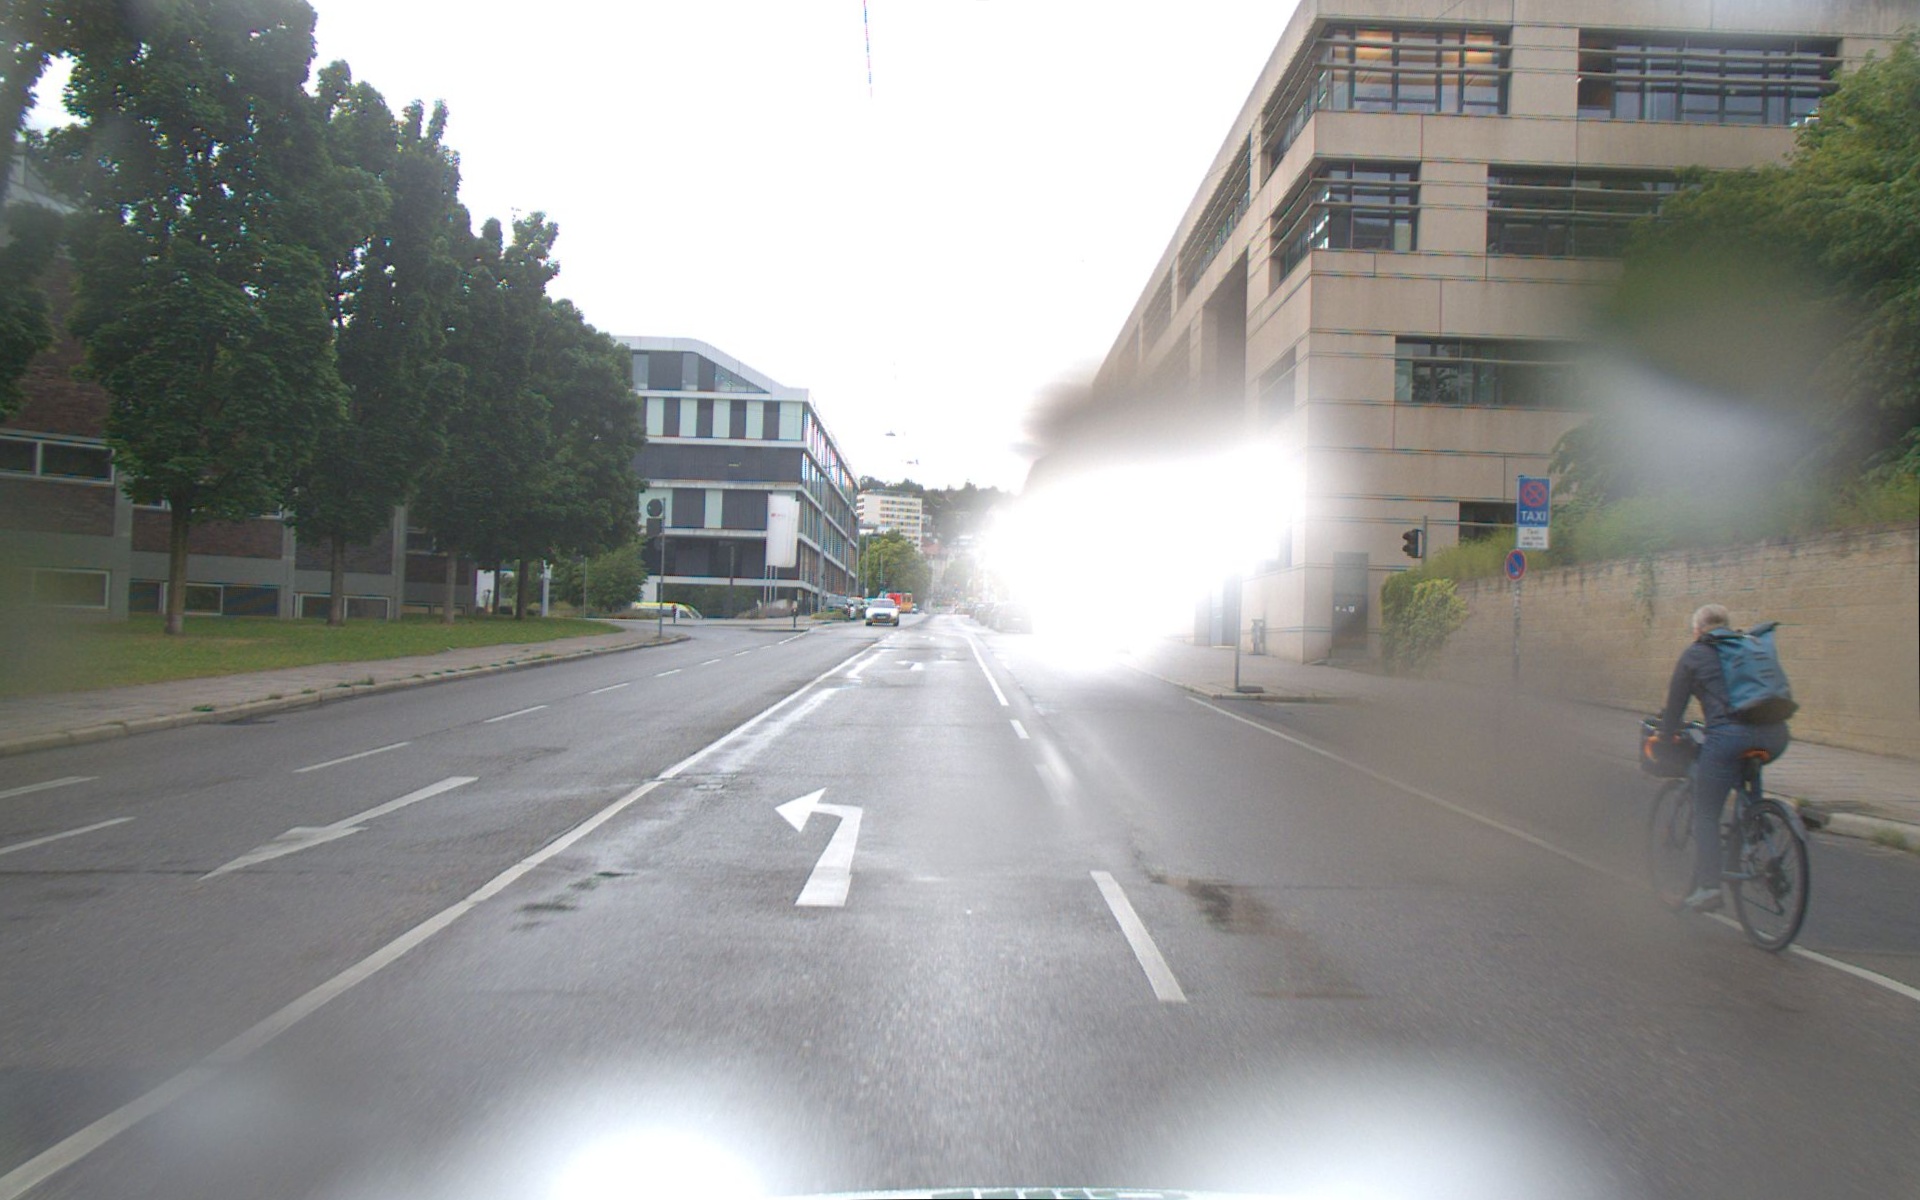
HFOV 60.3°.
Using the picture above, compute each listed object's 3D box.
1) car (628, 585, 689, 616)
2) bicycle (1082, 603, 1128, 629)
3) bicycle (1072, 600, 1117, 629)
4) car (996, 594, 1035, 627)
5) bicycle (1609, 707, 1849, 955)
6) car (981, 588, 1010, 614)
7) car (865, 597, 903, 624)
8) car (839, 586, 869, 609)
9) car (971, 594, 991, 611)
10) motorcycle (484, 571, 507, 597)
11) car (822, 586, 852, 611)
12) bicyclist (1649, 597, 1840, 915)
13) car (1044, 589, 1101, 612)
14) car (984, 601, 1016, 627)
[{"bbox_3d":[-23.540,0.051,129.296,4.502,2.212,1.928,3,-1,-7],"label":"car"},{"bbox_3d":[5.750,0.640,65.545,1.724,0.970,0.659,2,-1,-4],"label":"bicycle"},{"bbox_3d":[5.396,0.579,66.520,1.696,1.138,0.659,2,-1,-6],"label":"bicycle"},{"bbox_3d":[2.960,0.569,89.339,1.735,1.632,4.393,3,0,-2],"label":"car"},{"bbox_3d":[3.838,1.108,8.384,0.438,0.980,1.690,2,1,2],"label":"bicycle"},{"bbox_3d":[2.589,0.105,121.873,1.896,1.780,4.796,3,0,-1],"label":"car"},{"bbox_3d":[-4.438,0.600,97.032,1.842,1.517,5.221,0,0,2],"label":"car"},{"bbox_3d":[-8.569,-0.187,134.024,1.922,1.780,4.943,3,0,2],"label":"car"},{"bbox_3d":[1.978,0.268,156.467,1.671,1.479,3.984,3,0,-1],"label":"car"},{"bbox_3d":[-22.561,-0.763,80.325,1.203,1.205,0.411,2,-1,37],"label":"motorcycle"},{"bbox_3d":[-8.691,-0.101,117.175,1.812,1.646,4.490,3,0,0],"label":"car"},{"bbox_3d":[3.859,0.731,8.190,0.474,1.458,0.930,2,-1,2],"label":"bicyclist"},{"bbox_3d":[8.904,0.034,130.800,4.348,1.743,1.904,-1,0,-1],"label":"car"},{"bbox_3d":[2.537,0.880,105.382,1.708,1.560,4.317,3,0,-2],"label":"car"}]
